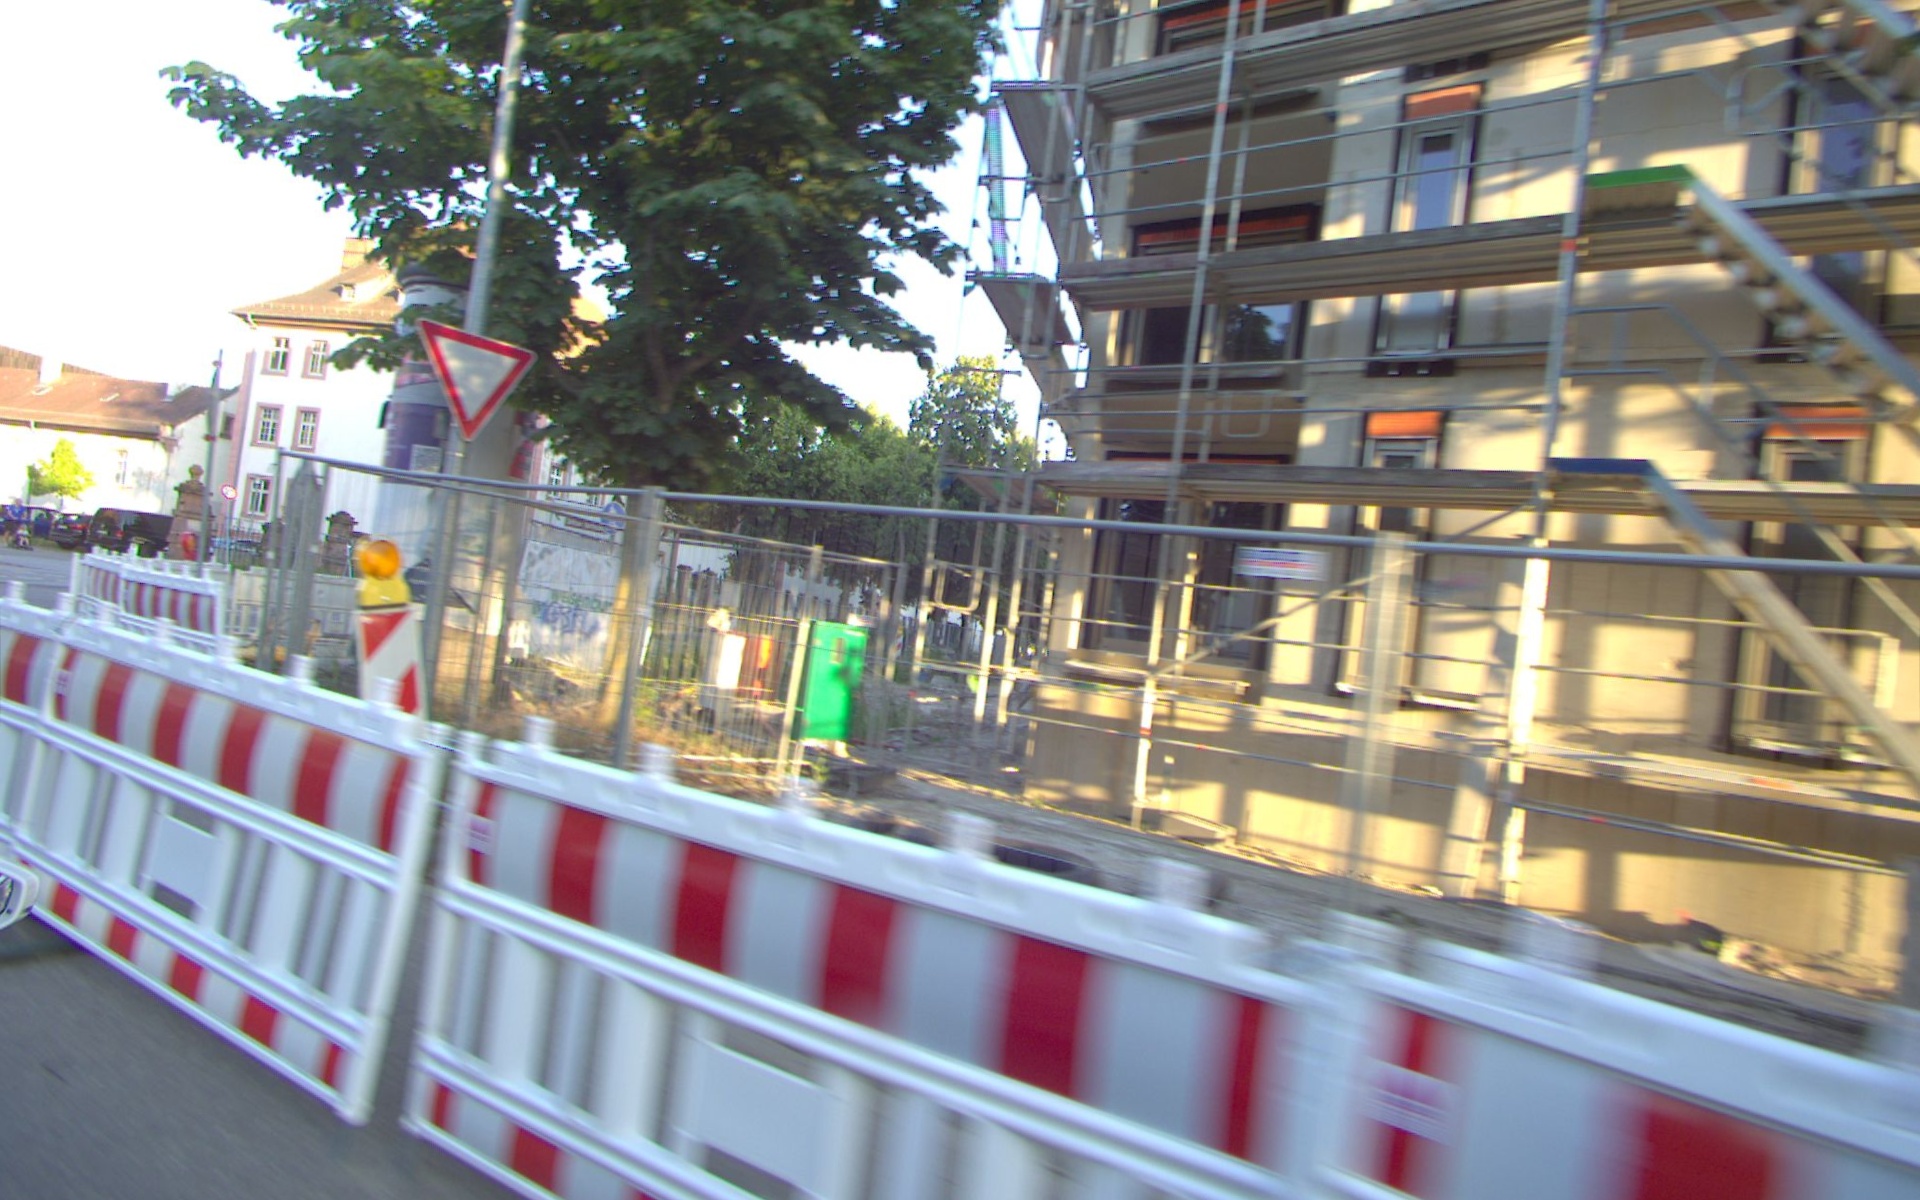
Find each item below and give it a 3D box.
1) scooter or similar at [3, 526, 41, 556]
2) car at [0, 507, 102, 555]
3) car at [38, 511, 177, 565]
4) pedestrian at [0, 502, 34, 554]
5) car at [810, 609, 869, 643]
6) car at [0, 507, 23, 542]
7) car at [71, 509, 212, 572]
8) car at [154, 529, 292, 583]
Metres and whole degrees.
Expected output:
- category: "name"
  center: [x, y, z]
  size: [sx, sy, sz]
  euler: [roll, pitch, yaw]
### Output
- category: "scooter or similar"
  center: [-32.393, -2.039, 34.742]
  size: [0.791, 0.900, 0.516]
  euler: [7, -1, 15]
- category: "car"
  center: [-40.219, -3.046, 44.005]
  size: [1.654, 1.546, 3.758]
  euler: [7, -2, 12]
- category: "car"
  center: [-35.904, -2.573, 42.501]
  size: [1.962, 1.590, 4.006]
  euler: [7, -2, 12]
- category: "pedestrian"
  center: [-33.200, -2.528, 35.091]
  size: [0.995, 1.661, 0.753]
  euler: [7, -1, 16]
- category: "car"
  center: [-9.393, 2.044, 78.430]
  size: [3.924, 2.037, 2.003]
  euler: [8, -1, 10]
- category: "car"
  center: [-44.572, -3.653, 44.799]
  size: [1.654, 1.461, 3.758]
  euler: [7, -2, 12]
- category: "car"
  center: [-33.563, -2.380, 41.401]
  size: [1.962, 1.879, 4.006]
  euler: [7, -2, 12]
- category: "car"
  center: [-29.091, -1.711, 39.890]
  size: [1.962, 1.475, 4.006]
  euler: [7, -2, 12]
